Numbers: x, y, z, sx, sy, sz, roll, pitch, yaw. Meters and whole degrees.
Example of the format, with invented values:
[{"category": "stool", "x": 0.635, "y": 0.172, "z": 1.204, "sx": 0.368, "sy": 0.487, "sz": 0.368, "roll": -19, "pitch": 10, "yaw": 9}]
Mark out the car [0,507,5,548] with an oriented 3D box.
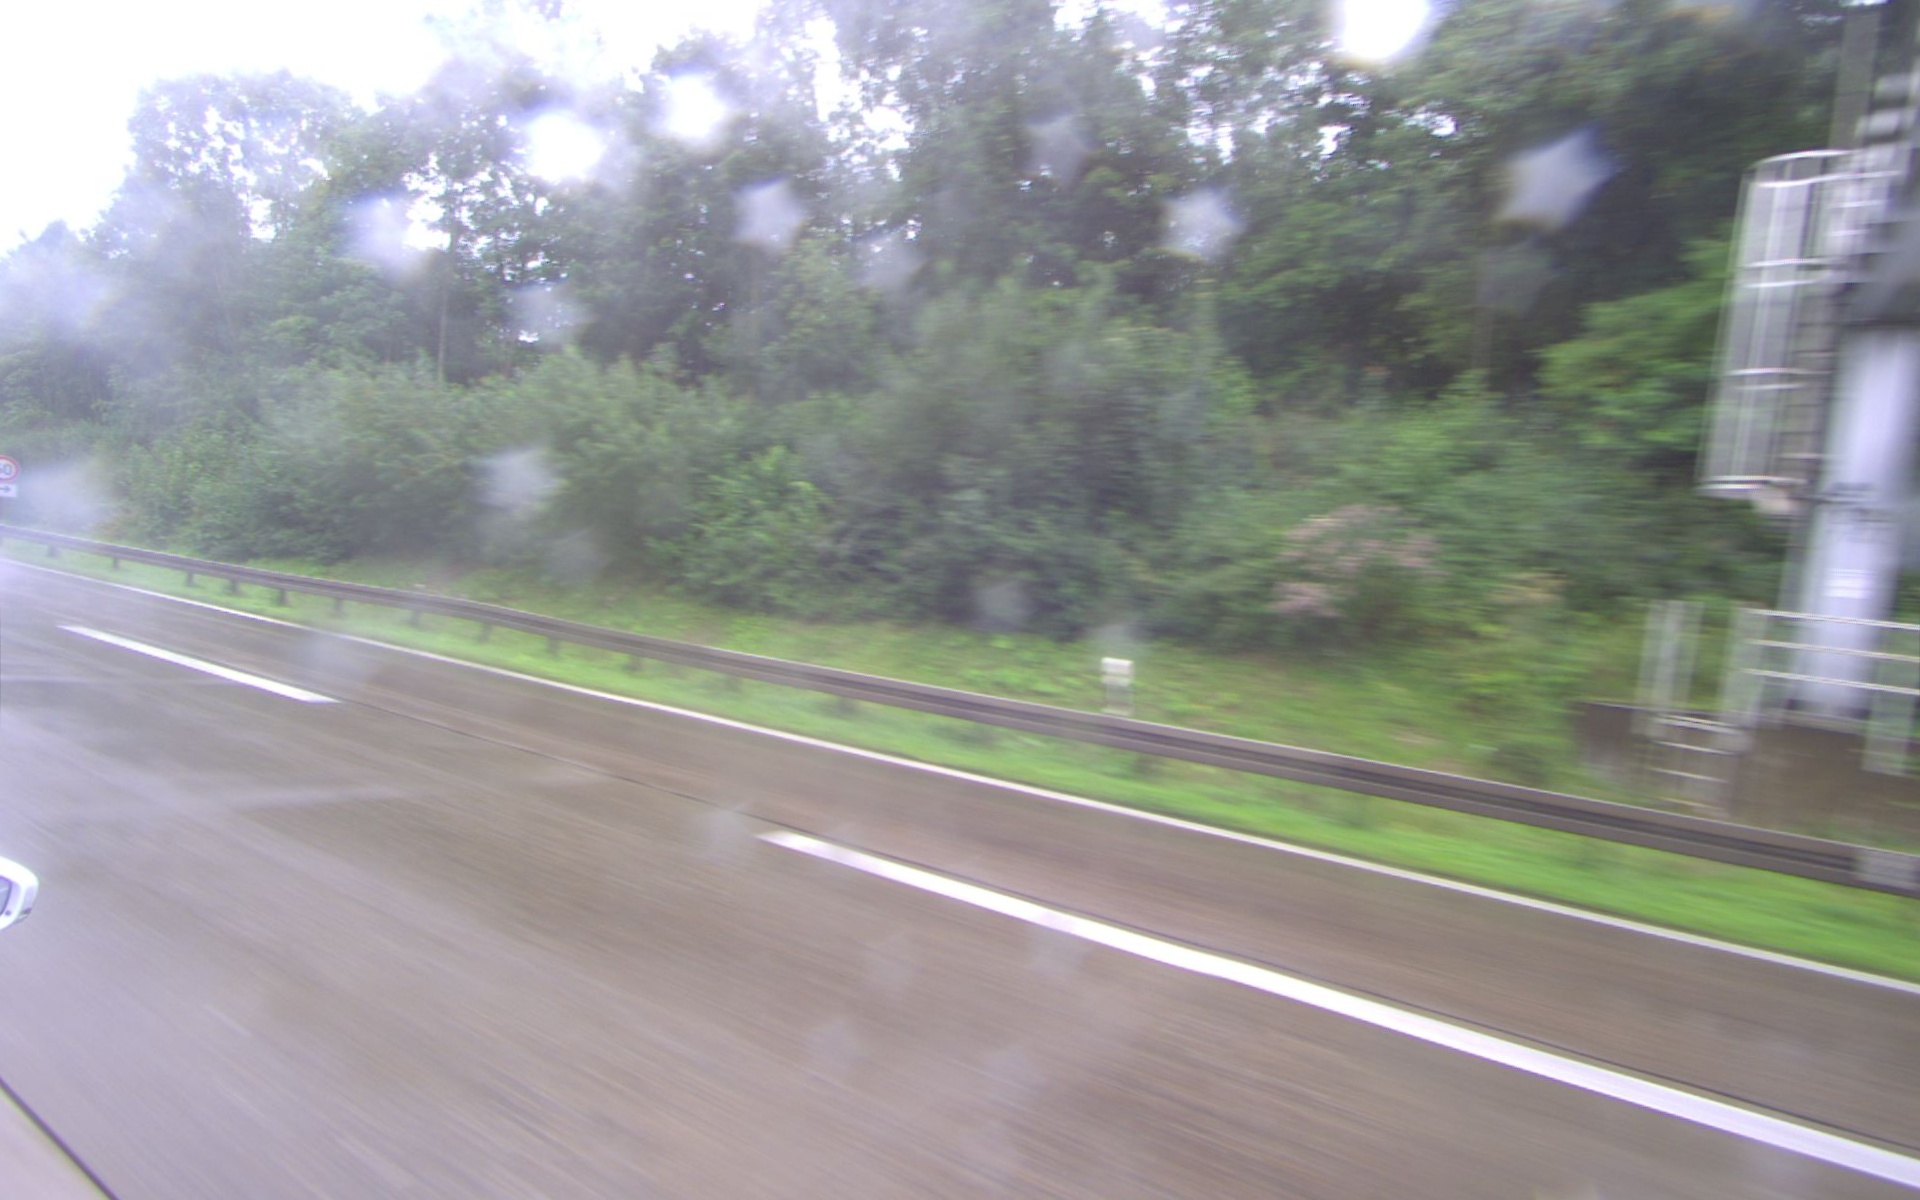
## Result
[{"category": "car", "x": -23.987, "y": -1.514, "z": 22.760, "sx": 5.569, "sy": 1.771, "sz": 1.997, "roll": 6, "pitch": -2, "yaw": 32}]
